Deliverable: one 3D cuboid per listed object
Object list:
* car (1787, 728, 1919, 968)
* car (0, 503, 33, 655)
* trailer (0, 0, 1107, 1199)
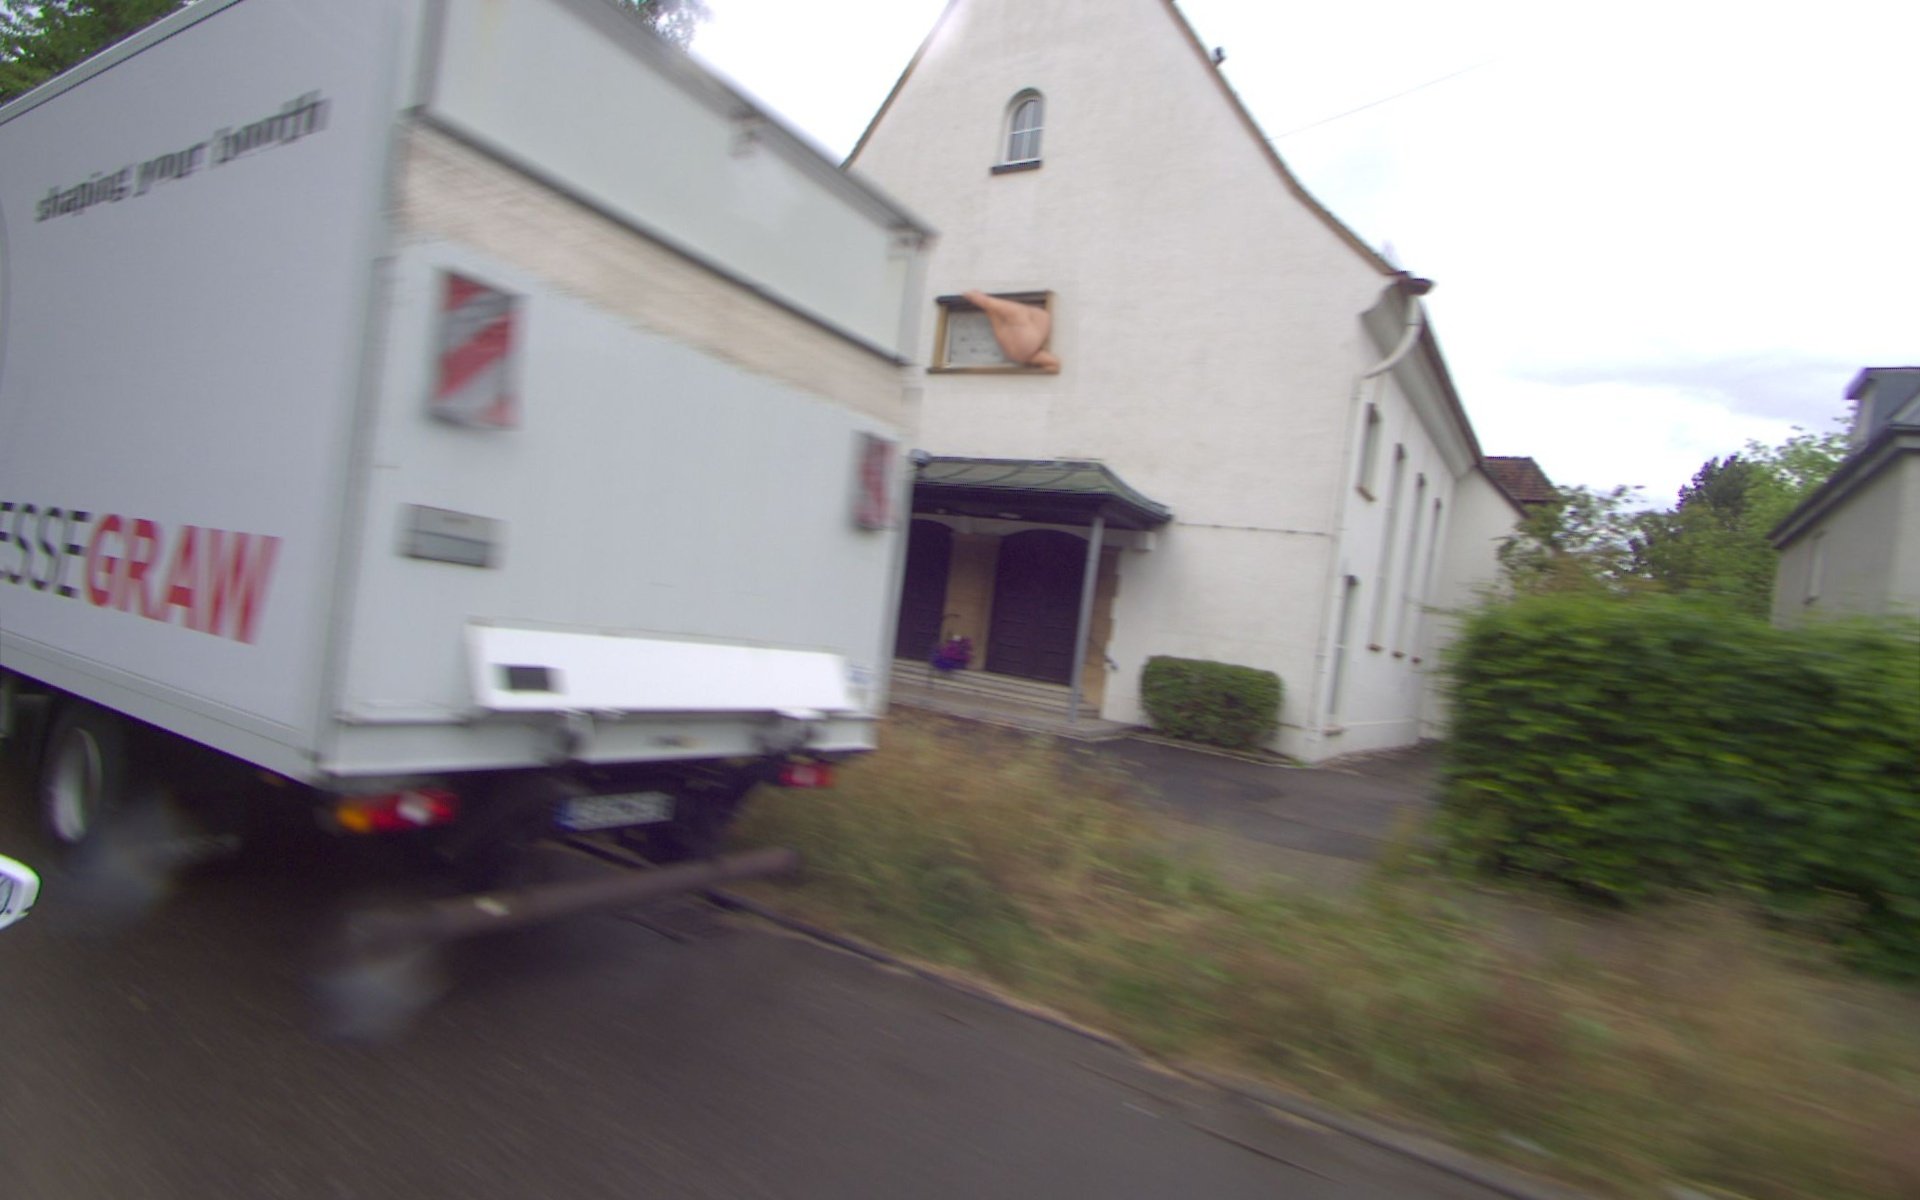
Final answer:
[{"bbox_3d":[8.123,1.953,6.985,3.334,1.537,1.647,7,0,32],"label":"car"},{"bbox_3d":[-11.428,-0.471,10.404,3.934,1.480,1.644,7,-2,33],"label":"car"},{"bbox_3d":[-3.675,-0.660,5.546,8.111,3.548,2.740,7,-2,32],"label":"trailer"}]
